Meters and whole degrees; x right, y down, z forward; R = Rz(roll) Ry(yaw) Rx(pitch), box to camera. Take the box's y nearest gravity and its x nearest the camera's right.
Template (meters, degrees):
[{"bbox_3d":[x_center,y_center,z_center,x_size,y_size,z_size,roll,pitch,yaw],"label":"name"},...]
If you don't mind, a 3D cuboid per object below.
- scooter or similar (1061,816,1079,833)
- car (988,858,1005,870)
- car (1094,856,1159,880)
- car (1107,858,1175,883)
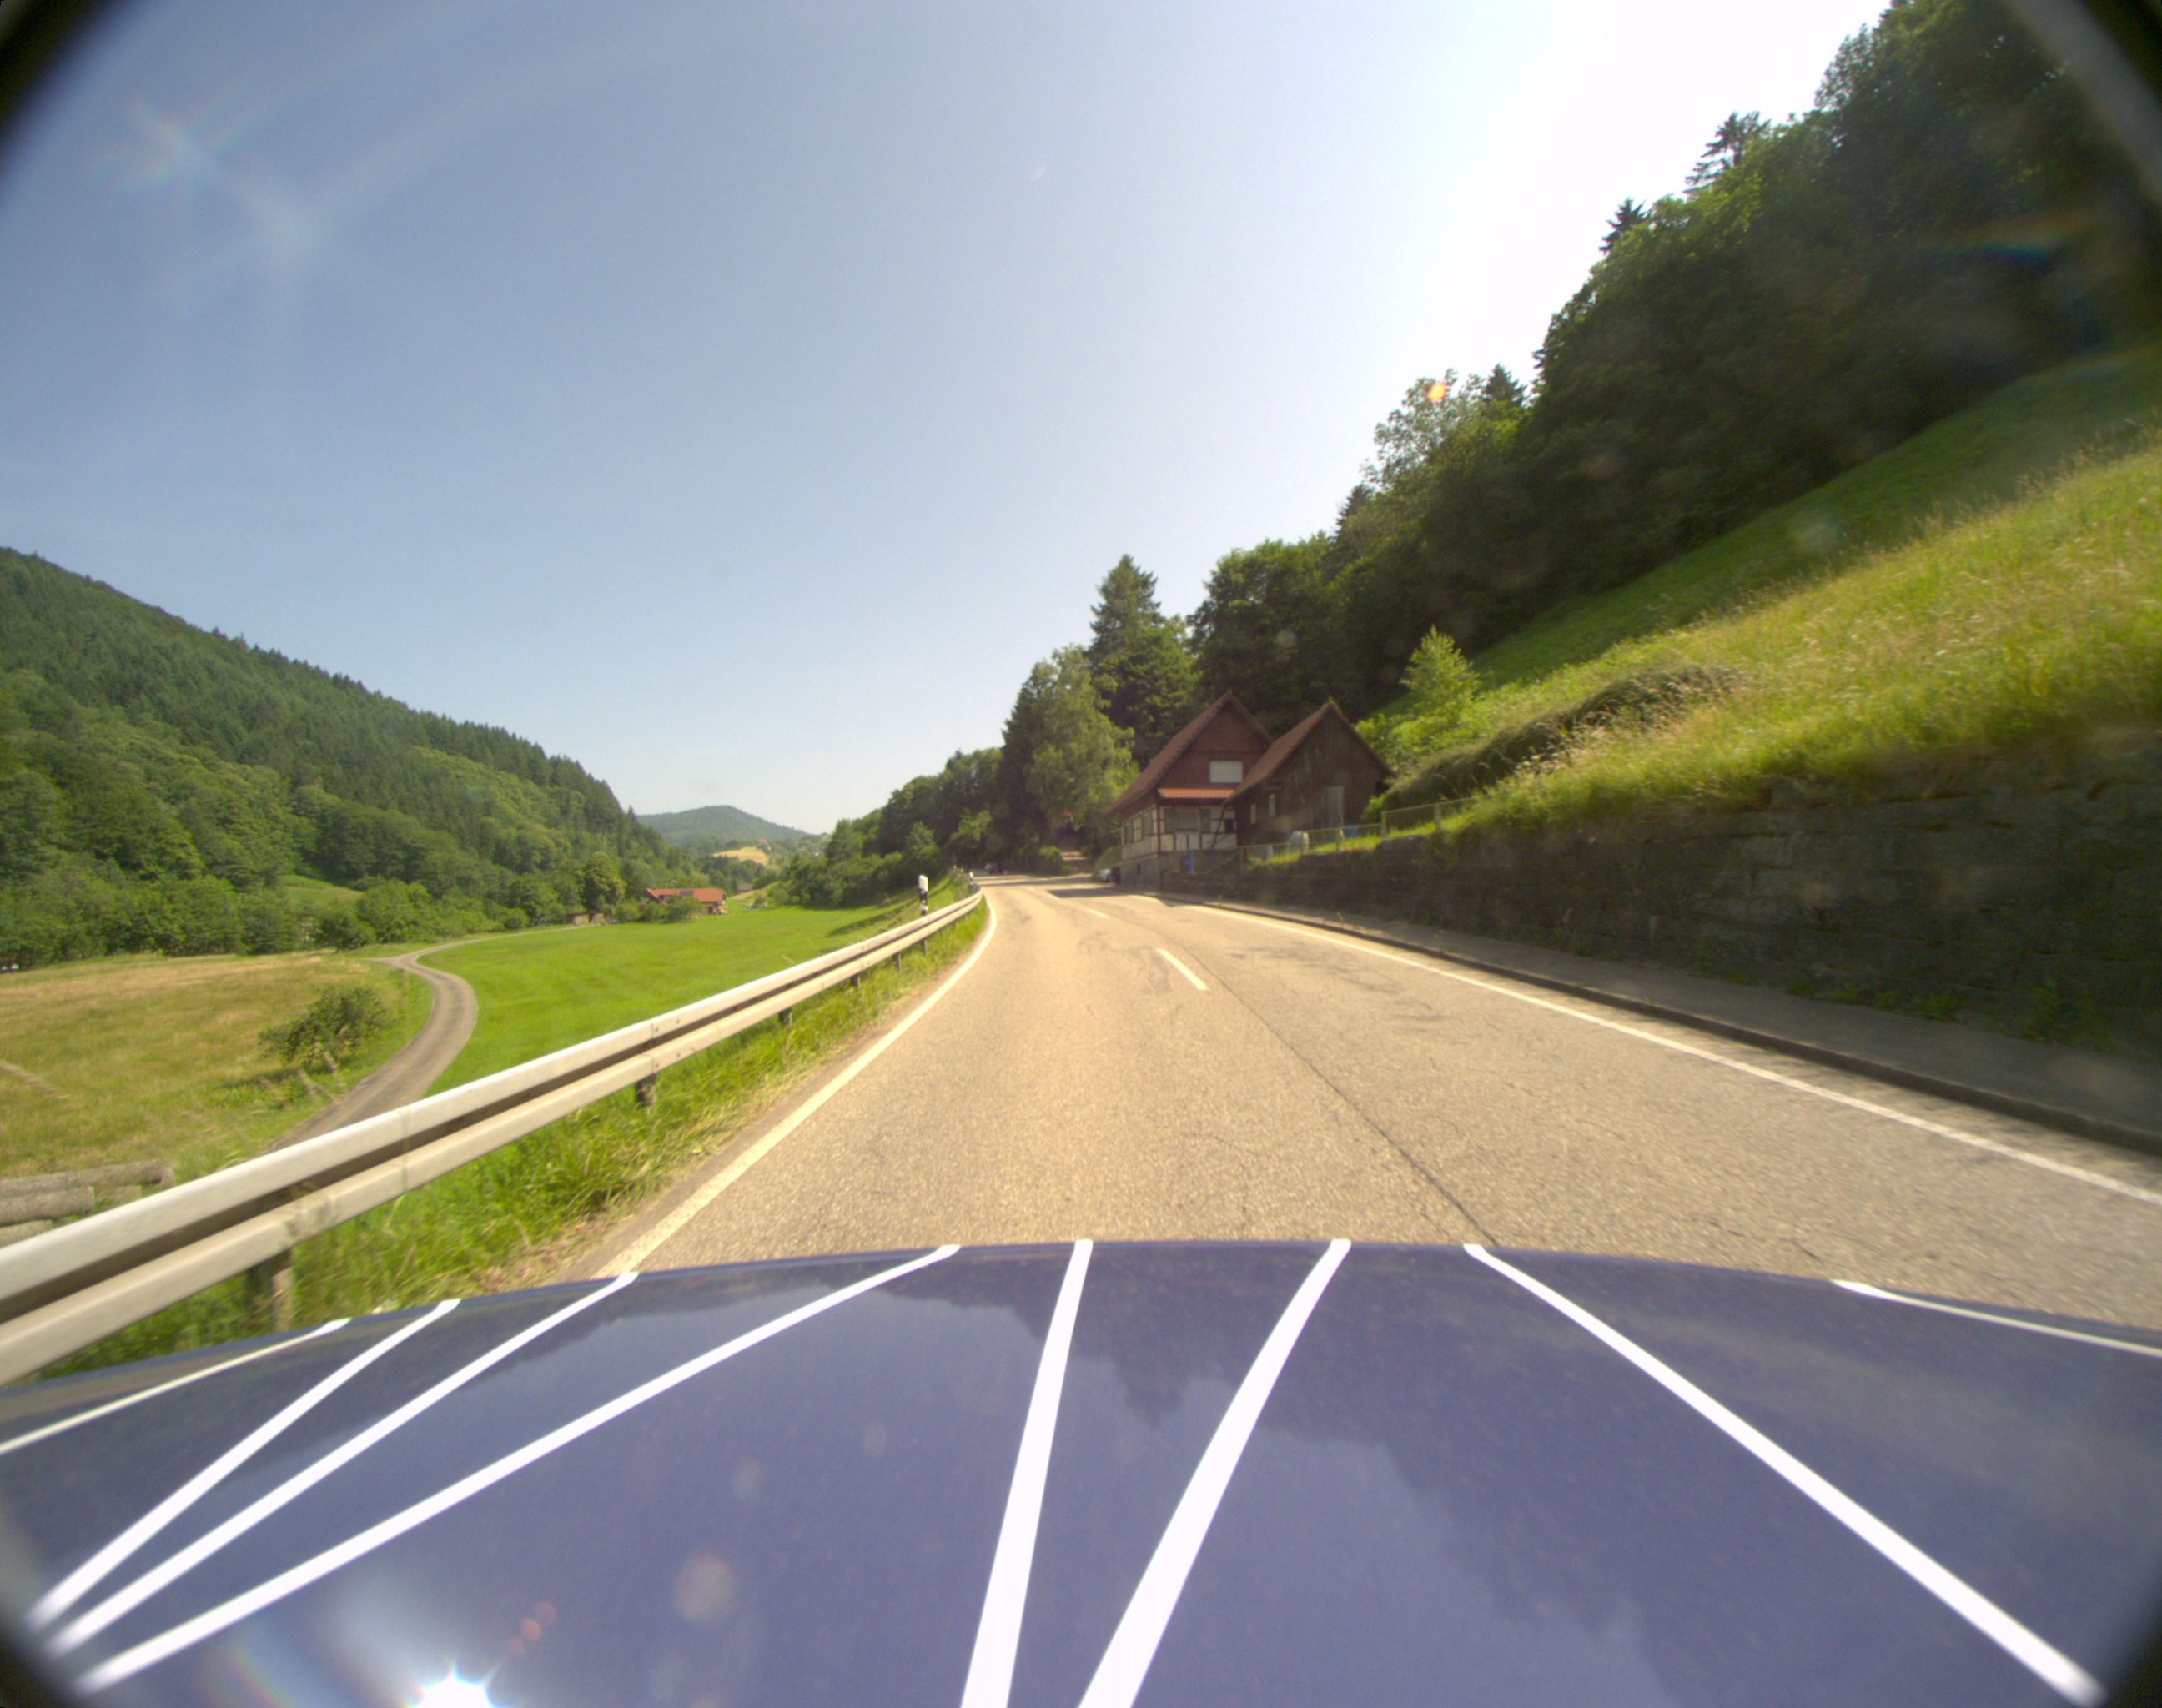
[{"bbox_3d":[-1.531,-4.100,106.341,1.983,2.015,4.403,-6,1,-5],"label":"scooter or similar"},{"bbox_3d":[-11.474,1.336,102.728,1.771,1.388,4.139,-3,1,-14],"label":"car"},{"bbox_3d":[2.978,0.926,49.634,3.830,1.408,1.856,-2,-1,-12],"label":"car"},{"bbox_3d":[3.678,0.996,47.094,3.830,1.424,1.861,-1,1,-12],"label":"car"}]
